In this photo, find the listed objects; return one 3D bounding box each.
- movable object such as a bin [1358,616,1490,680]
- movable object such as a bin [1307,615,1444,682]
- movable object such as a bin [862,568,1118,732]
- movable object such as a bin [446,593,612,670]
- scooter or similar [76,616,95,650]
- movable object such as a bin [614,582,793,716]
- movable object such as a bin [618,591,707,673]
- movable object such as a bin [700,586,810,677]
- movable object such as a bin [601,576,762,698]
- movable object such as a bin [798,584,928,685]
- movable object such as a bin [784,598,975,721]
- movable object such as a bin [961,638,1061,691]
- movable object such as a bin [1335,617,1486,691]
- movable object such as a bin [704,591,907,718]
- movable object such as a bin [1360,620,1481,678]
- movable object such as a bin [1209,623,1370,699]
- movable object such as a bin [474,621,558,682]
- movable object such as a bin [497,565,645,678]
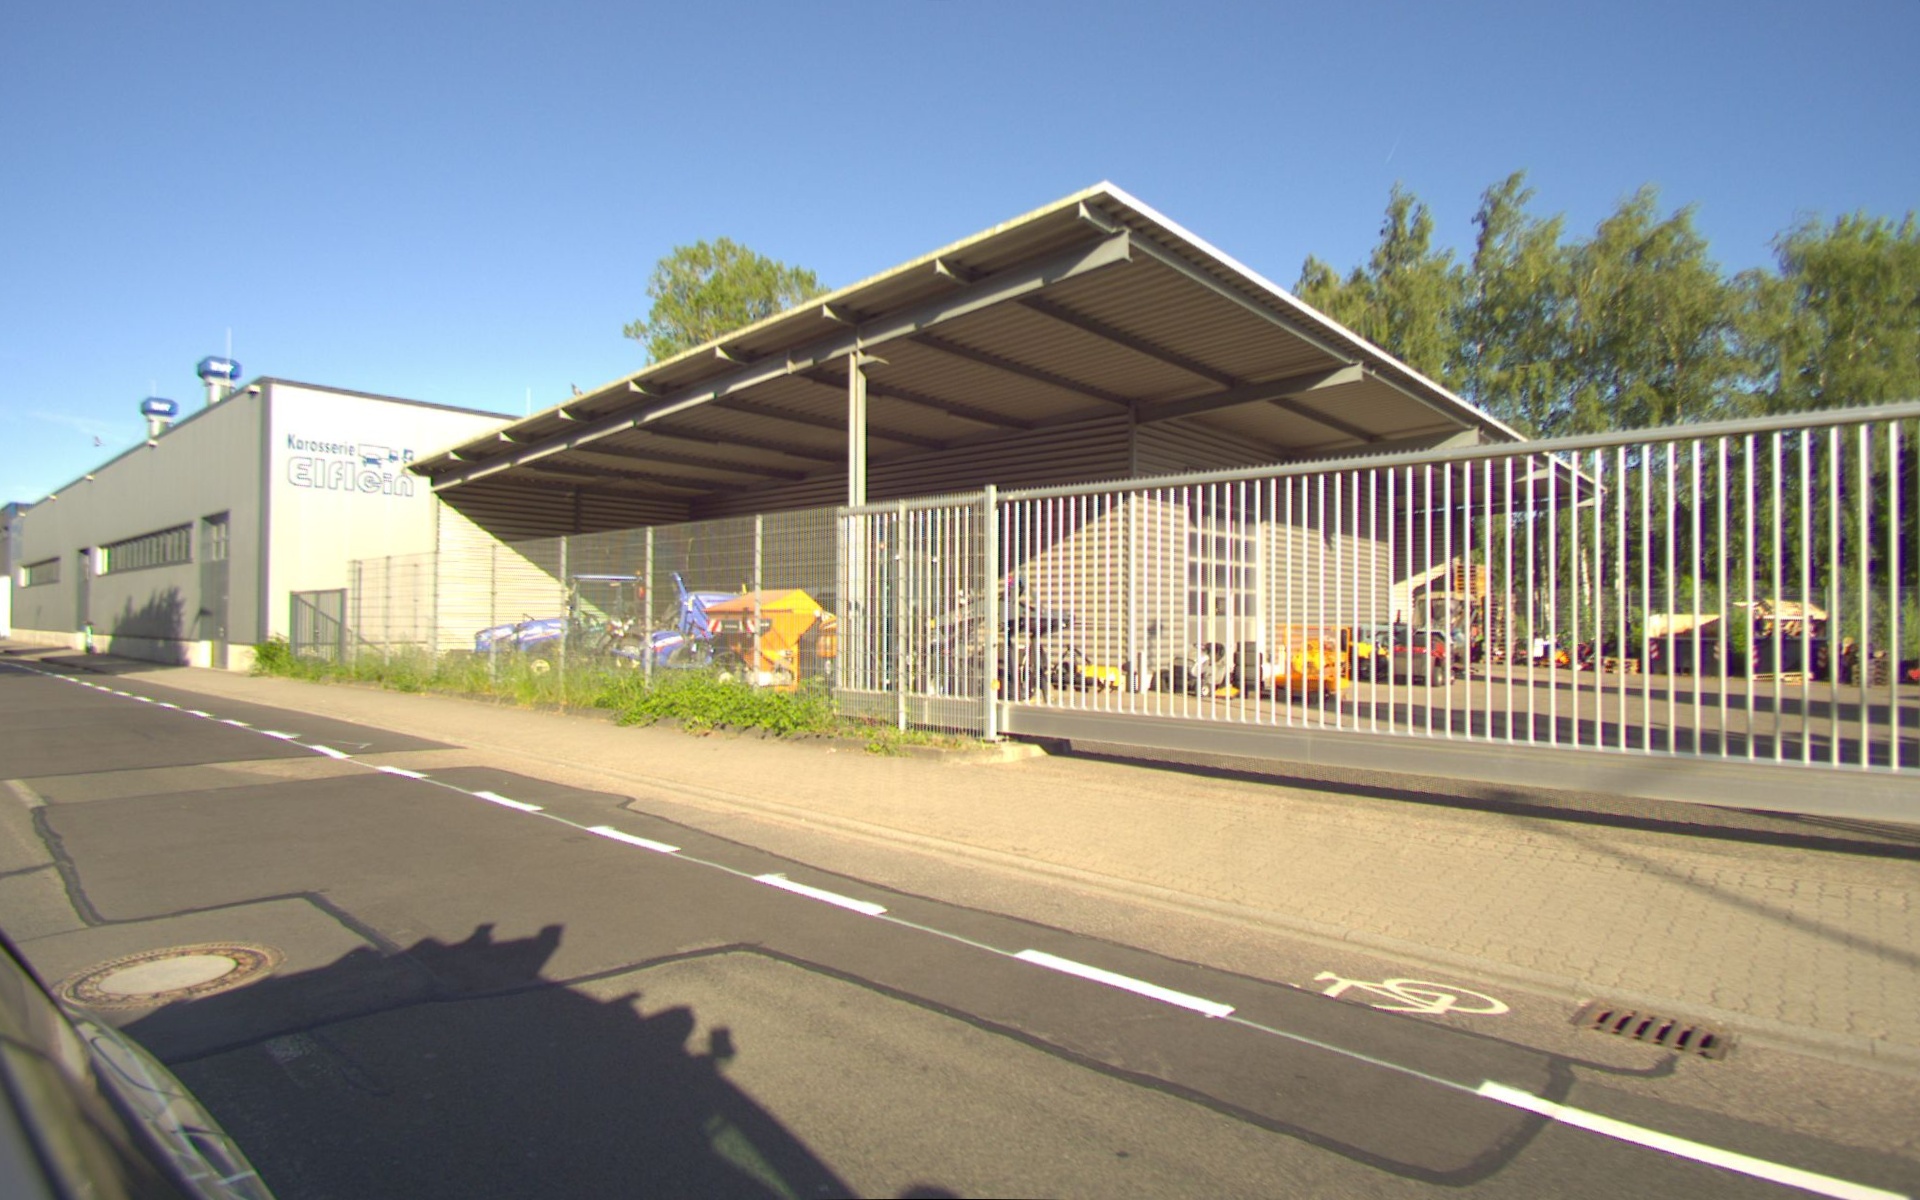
[{"bbox_3d":[11.614,1.164,25.407,2.756,1.502,1.314,-1,-2,41],"label":"movable object such as a bin"},{"bbox_3d":[9.914,1.117,24.195,2.756,1.502,1.314,-1,-2,41],"label":"movable object such as a bin"},{"bbox_3d":[0.365,0.664,13.697,3.093,1.949,1.641,-2,-3,39],"label":"movable object such as a bin"},{"bbox_3d":[-9.612,0.697,22.838,3.346,1.625,1.631,0,-2,-19],"label":"movable object such as a bin"},{"bbox_3d":[-33.507,1.264,38.787,1.059,1.277,0.411,-2,-2,42],"label":"scooter or similar"},{"bbox_3d":[-4.475,0.824,17.575,2.839,2.165,1.504,0,-2,-22],"label":"movable object such as a bin"},{"bbox_3d":[-8.055,0.878,27.402,1.846,2.108,1.560,-3,-3,39],"label":"movable object such as a bin"},{"bbox_3d":[-5.053,0.792,24.876,2.310,2.108,1.560,-3,-3,39],"label":"movable object such as a bin"},{"bbox_3d":[-5.246,0.682,19.039,2.752,2.142,1.389,0,-2,-23],"label":"movable object such as a bin"},{"bbox_3d":[-2.167,0.773,22.434,2.476,2.108,1.560,-3,-3,40],"label":"movable object such as a bin"},{"bbox_3d":[-1.191,0.871,15.487,1.524,1.693,2.611,-3,-3,40],"label":"movable object such as a bin"},{"bbox_3d":[0.989,1.233,19.738,1.614,0.977,1.090,-2,-3,39],"label":"movable object such as a bin"},{"bbox_3d":[9.763,1.119,22.007,2.756,1.502,1.314,-1,-2,41],"label":"movable object such as a bin"},{"bbox_3d":[-2.445,0.841,16.395,1.524,1.849,3.008,-3,-3,40],"label":"movable object such as a bin"},{"bbox_3d":[12.481,1.286,27.489,2.755,1.502,1.314,-1,-2,40],"label":"movable object such as a bin"},{"bbox_3d":[6.154,1.122,18.996,2.633,1.342,1.155,-2,-3,39],"label":"movable object such as a bin"},{"bbox_3d":[-10.770,1.239,24.567,1.324,1.413,1.454,-2,-3,39],"label":"movable object such as a bin"},{"bbox_3d":[-7.886,0.440,20.689,2.725,2.181,1.528,0,-2,-19],"label":"movable object such as a bin"}]
